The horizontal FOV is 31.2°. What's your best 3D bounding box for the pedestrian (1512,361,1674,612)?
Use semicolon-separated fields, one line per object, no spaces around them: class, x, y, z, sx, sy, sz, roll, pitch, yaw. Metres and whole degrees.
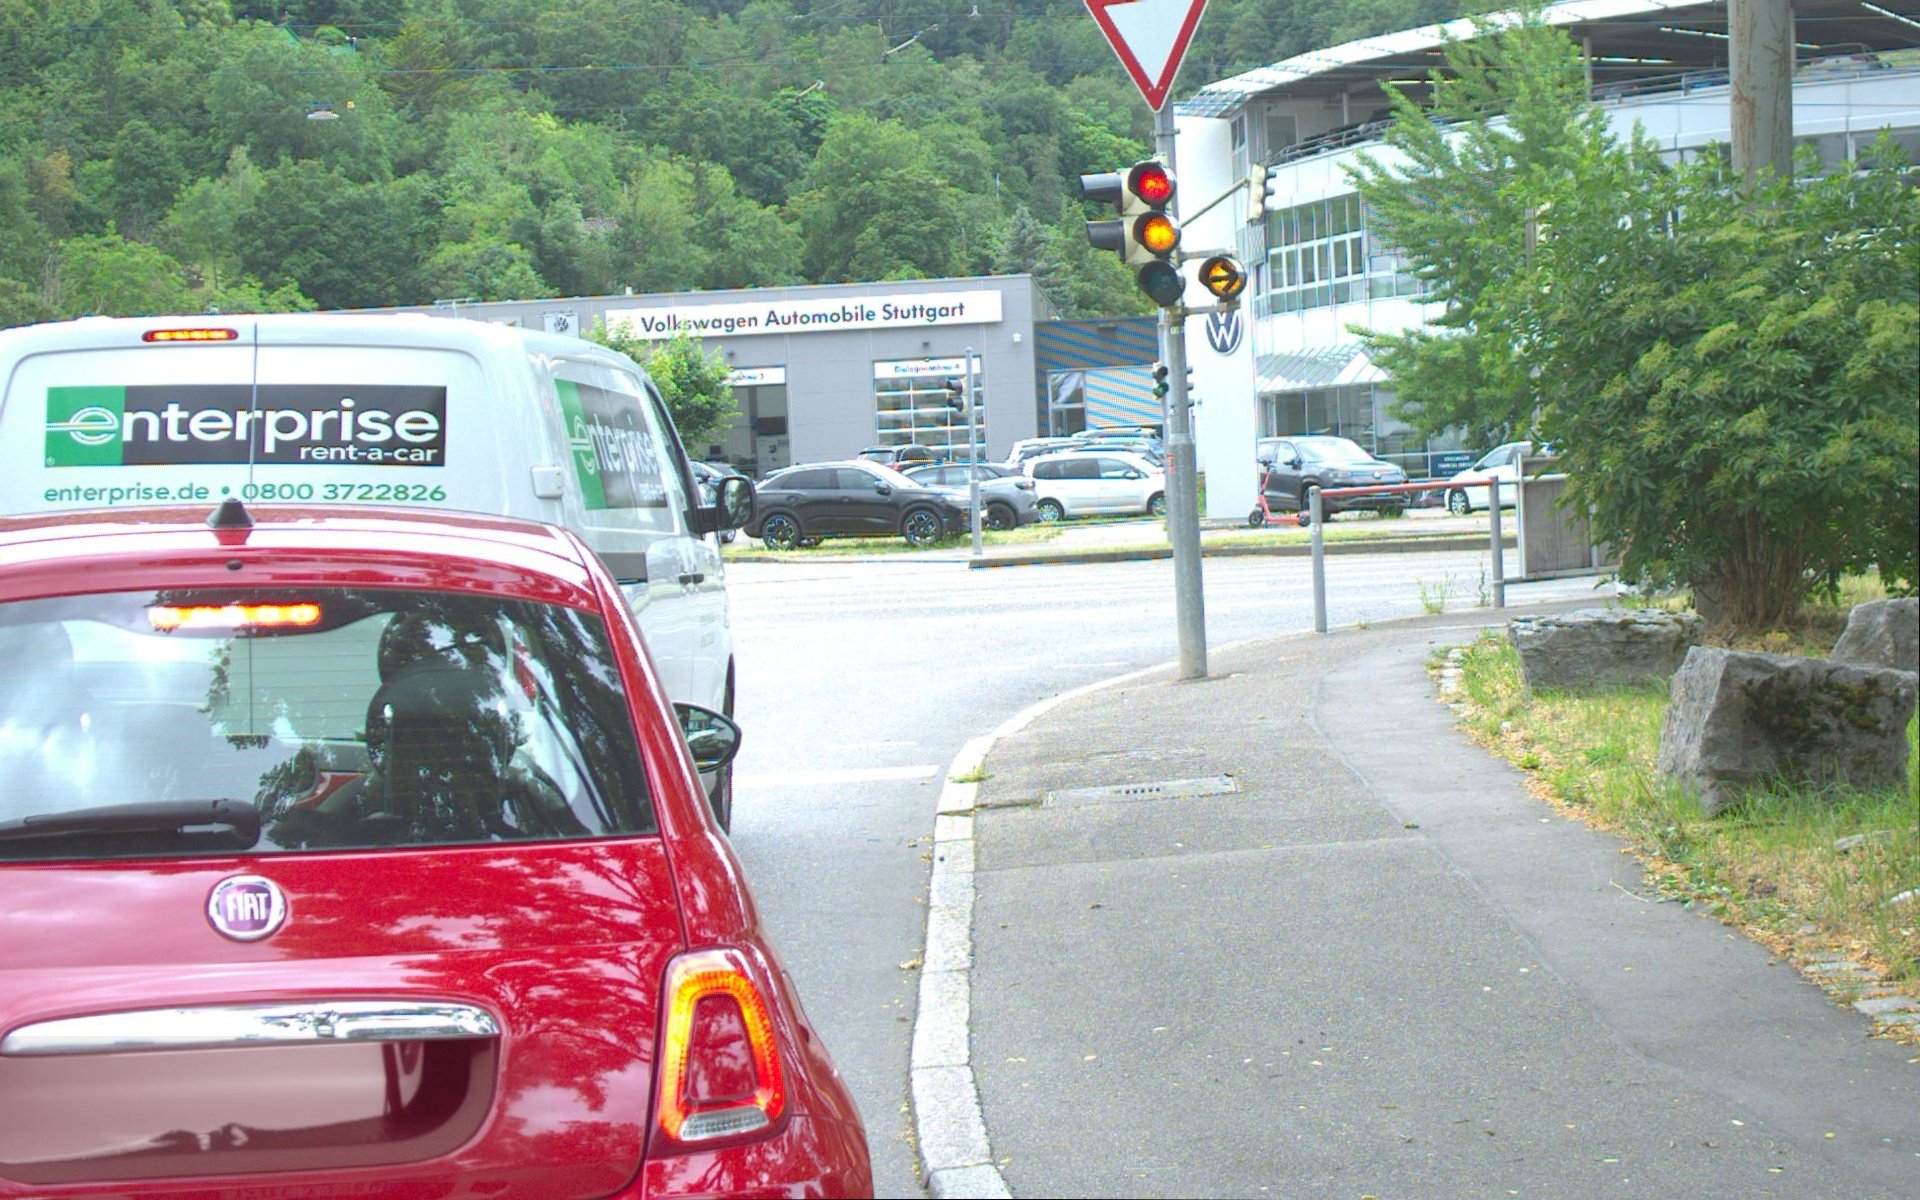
pedestrian;4.434;-0.793;24.077;0.786;1.708;0.695;-5;3;-39

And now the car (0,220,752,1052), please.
car;-1.941;0.015;11.373;1.989;2.099;4.762;-3;2;2

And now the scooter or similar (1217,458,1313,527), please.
scooter or similar;5.524;-1.950;62.290;1.668;1.173;0.467;-2;2;7

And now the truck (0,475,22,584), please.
truck;-23.667;-1.438;76.069;5.183;2.385;2.000;-4;3;-28

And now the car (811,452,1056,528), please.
car;-0.535;-2.251;70.456;4.674;1.323;1.775;-2;2;14

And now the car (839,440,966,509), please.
car;-1.639;-3.653;99.546;1.996;1.809;3.995;-1;3;27

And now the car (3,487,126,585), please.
car;-17.779;-1.308;68.398;1.859;1.811;4.404;-3;2;-9

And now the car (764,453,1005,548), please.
car;-1.332;-1.771;61.315;3.871;1.495;1.774;-2;2;17

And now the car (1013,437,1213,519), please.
car;3.760;-3.005;84.599;4.796;1.796;1.776;-2;2;3

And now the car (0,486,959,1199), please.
car;-1.145;0.575;5.536;1.638;1.451;3.432;-2;2;-11

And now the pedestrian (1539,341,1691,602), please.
pedestrian;4.791;-0.940;25.137;0.695;1.850;0.786;-1;3;44

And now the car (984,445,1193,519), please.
car;3.035;-2.790;81.057;4.796;1.528;1.776;-2;2;3

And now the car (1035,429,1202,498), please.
car;4.660;-4.021;101.084;4.796;1.796;1.776;-2;2;3

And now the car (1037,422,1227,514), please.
car;4.459;-3.438;89.589;4.796;2.149;2.234;-2;2;3

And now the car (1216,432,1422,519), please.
car;6.761;-2.345;65.049;1.770;1.495;3.881;-4;3;-33

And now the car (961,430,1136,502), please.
car;2.487;-3.753;96.194;4.796;1.796;1.776;-2;2;3

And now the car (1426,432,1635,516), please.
car;11.046;-2.434;66.837;1.770;1.495;4.022;-4;3;-31

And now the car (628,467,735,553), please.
car;-6.351;-2.089;78.826;1.993;1.809;4.000;-3;2;1
